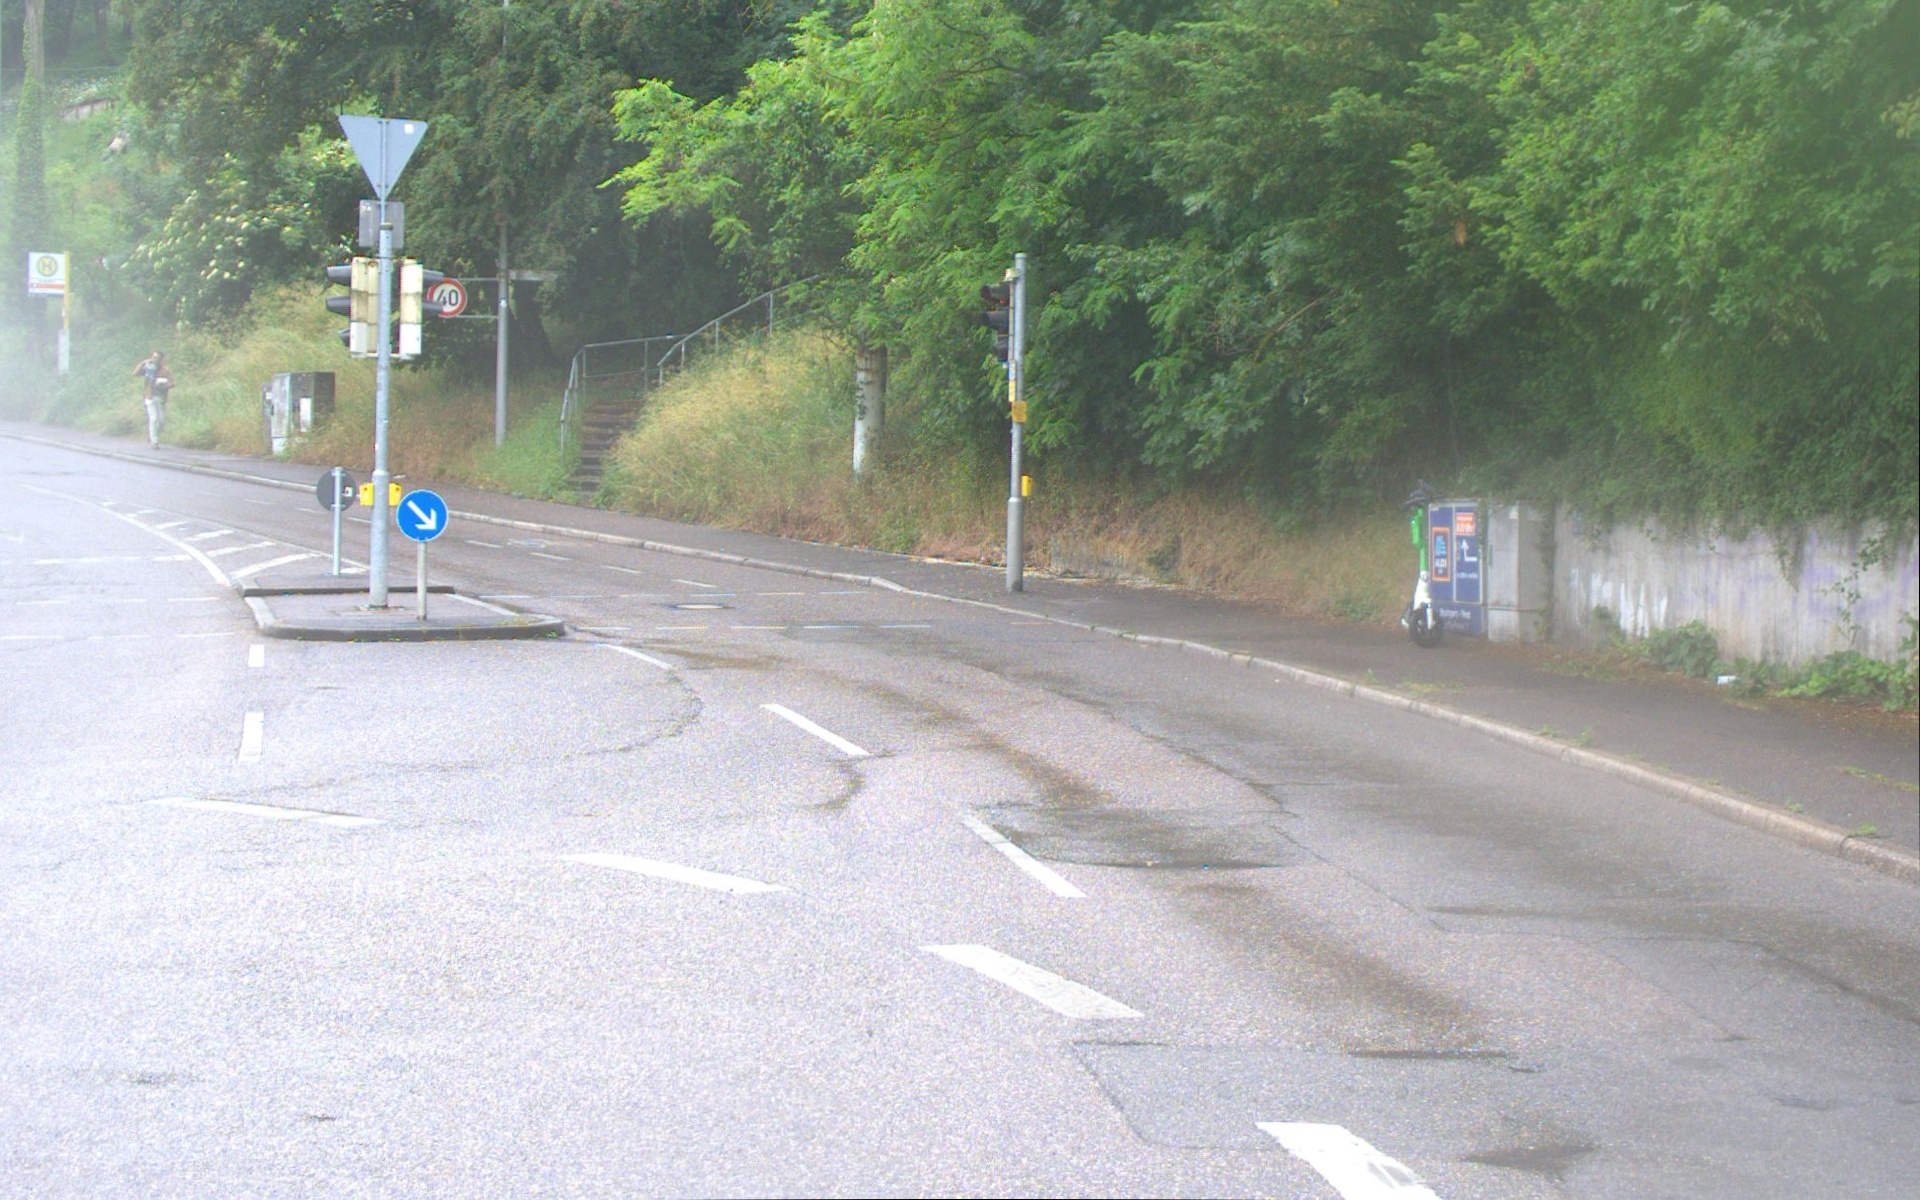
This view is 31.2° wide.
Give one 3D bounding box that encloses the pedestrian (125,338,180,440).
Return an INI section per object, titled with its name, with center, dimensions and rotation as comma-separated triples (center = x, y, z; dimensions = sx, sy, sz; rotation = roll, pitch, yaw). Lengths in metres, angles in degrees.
[pedestrian]
center = -14.345, -3.738, 61.066
dimensions = 0.880, 1.730, 0.866
rotation = 0, 0, -17

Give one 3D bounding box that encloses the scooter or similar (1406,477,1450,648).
[scooter or similar]
center = 3.597, -0.298, 26.464
dimensions = 0.322, 1.275, 0.751
rotation = 0, 4, 7
